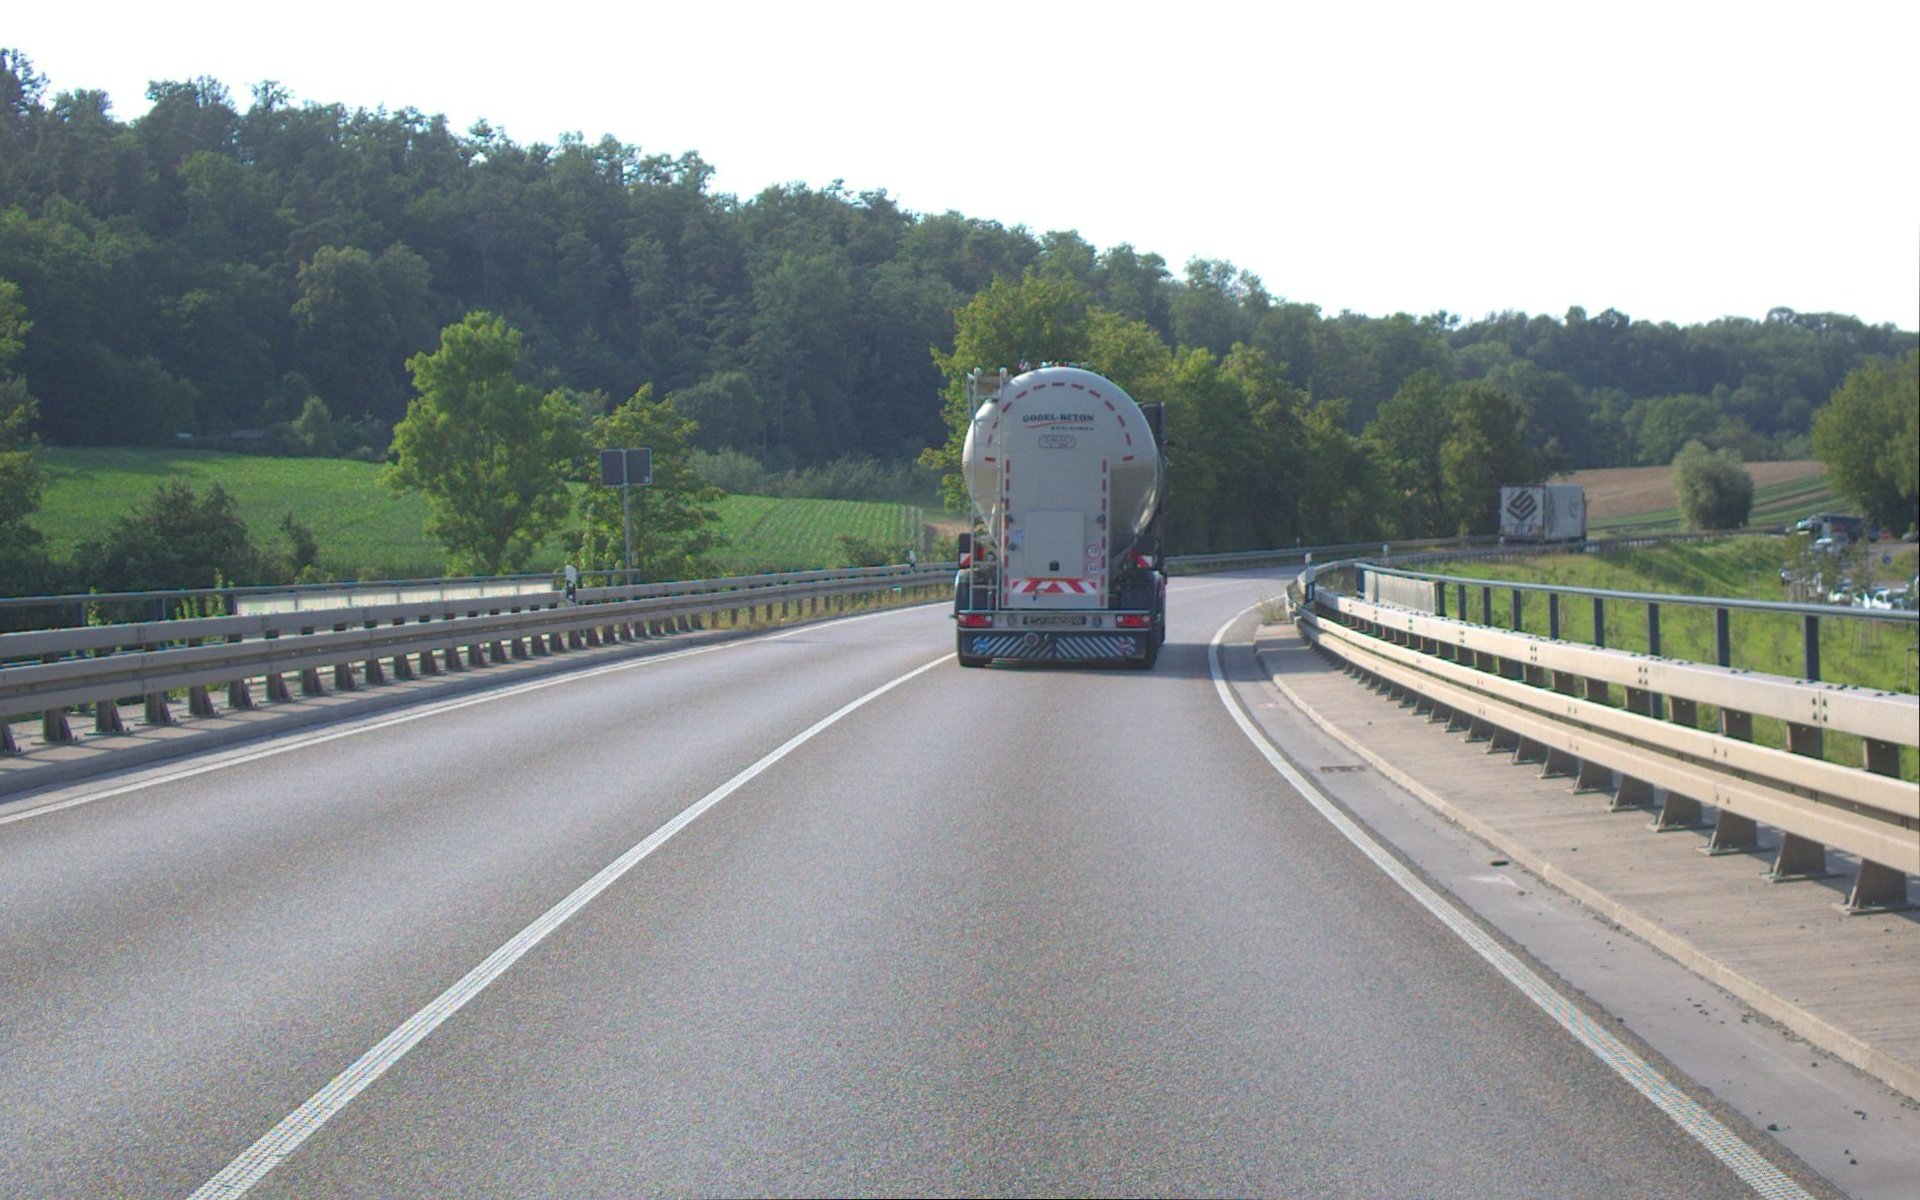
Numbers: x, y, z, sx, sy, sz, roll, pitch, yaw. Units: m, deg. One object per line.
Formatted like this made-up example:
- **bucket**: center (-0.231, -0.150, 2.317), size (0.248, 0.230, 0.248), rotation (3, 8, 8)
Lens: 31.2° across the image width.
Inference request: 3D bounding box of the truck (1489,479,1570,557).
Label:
- **truck**: center (32.959, -4.798, 198.492), size (3.186, 4.213, 13.163), rotation (0, 2, 16)

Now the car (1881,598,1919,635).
- **car**: center (46.907, 0.810, 169.073), size (1.892, 1.477, 4.783), rotation (-4, 2, 1)

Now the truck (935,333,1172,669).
- **truck**: center (1.538, -1.328, 49.186), size (2.893, 4.128, 13.171), rotation (1, 1, 3)
